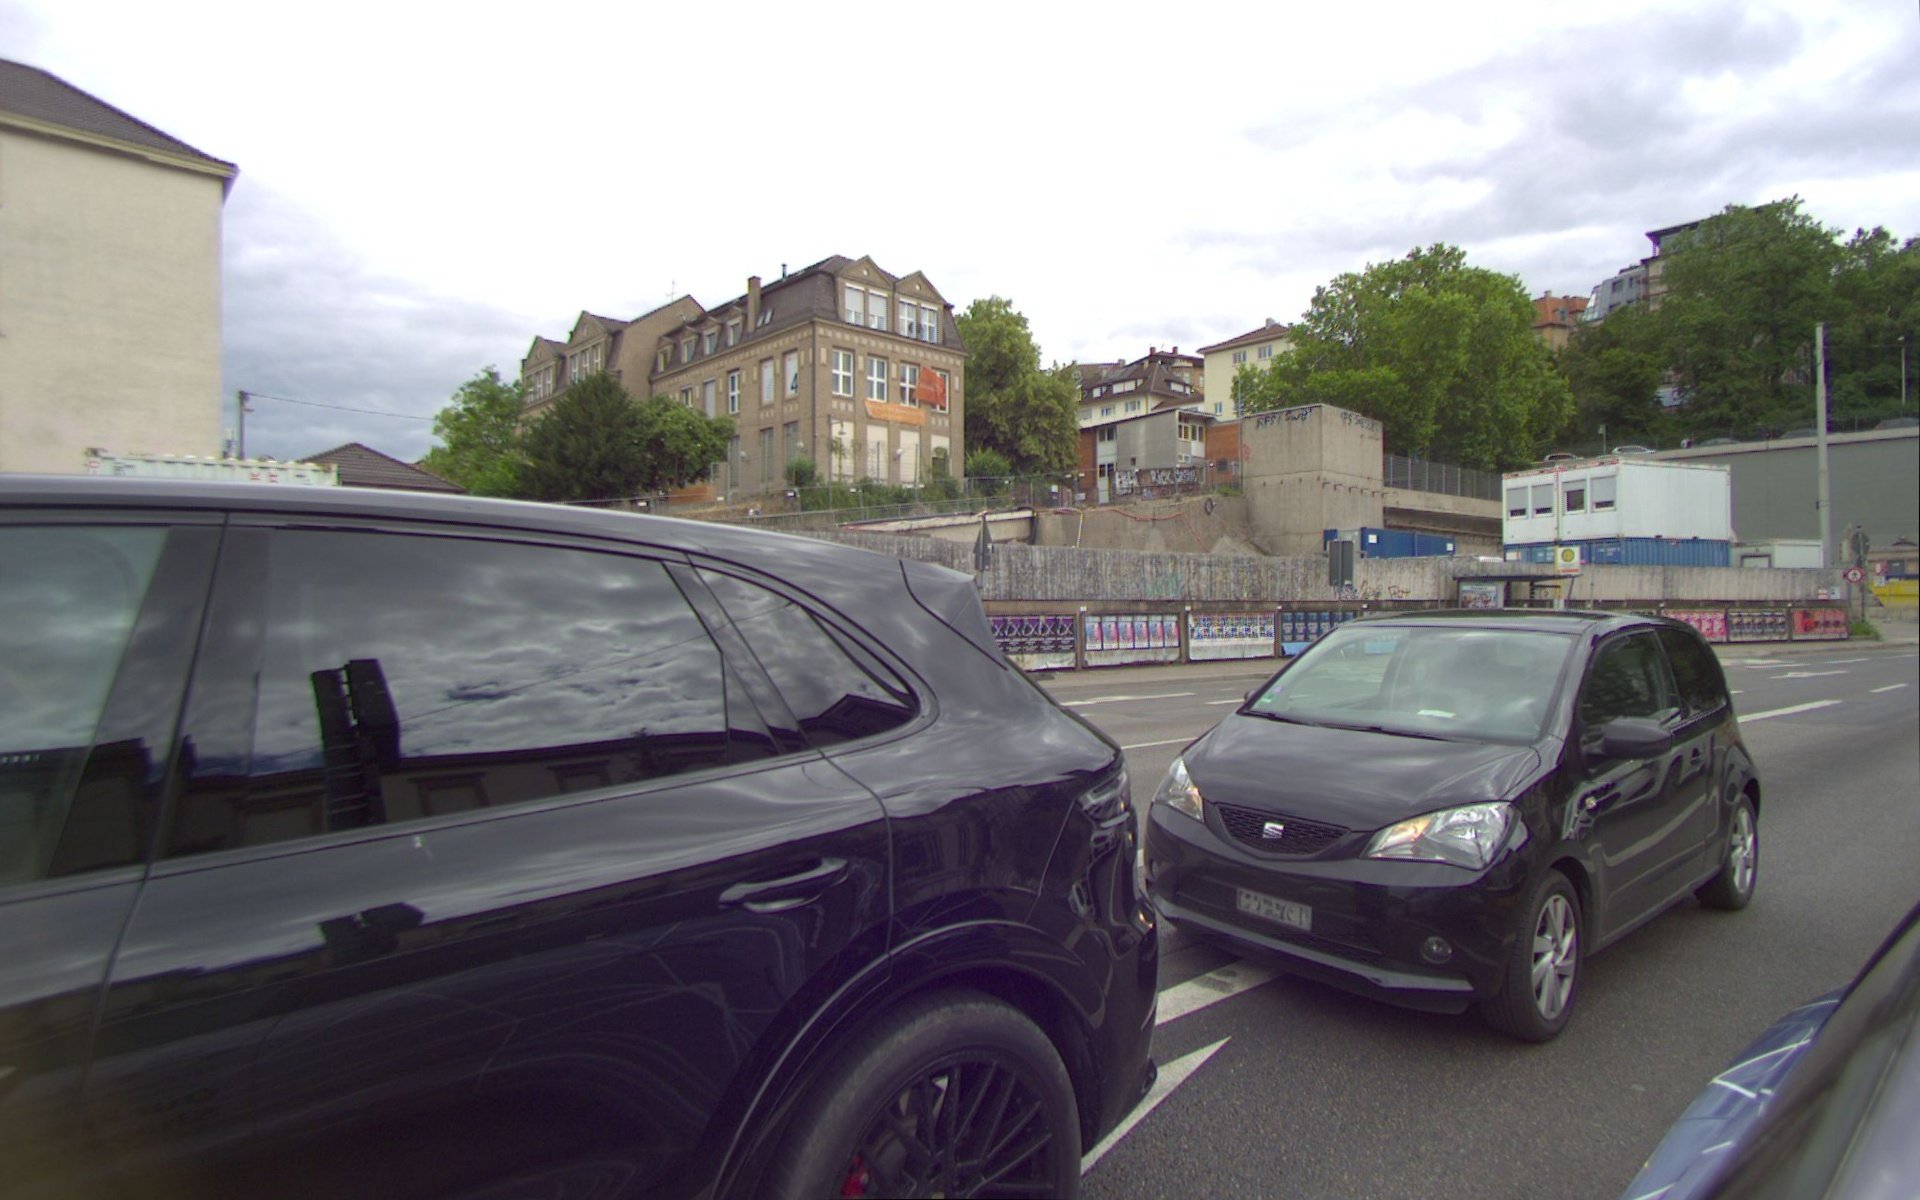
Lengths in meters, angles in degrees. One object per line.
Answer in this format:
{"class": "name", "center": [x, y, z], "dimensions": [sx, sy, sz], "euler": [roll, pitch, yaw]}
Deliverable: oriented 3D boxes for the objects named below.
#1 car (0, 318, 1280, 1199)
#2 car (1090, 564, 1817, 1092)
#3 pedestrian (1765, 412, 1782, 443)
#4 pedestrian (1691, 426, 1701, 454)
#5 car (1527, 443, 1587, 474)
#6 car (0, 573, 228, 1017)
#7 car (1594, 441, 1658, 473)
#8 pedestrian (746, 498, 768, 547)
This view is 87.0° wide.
{"class": "car", "center": [-1.616, 0.584, 1.698], "dimensions": [4.552, 1.707, 1.959], "euler": [0, -1, -40]}
{"class": "car", "center": [2.533, 0.661, 4.783], "dimensions": [3.812, 1.515, 1.667], "euler": [0, -1, -40]}
{"class": "pedestrian", "center": [58.161, -12.317, 72.382], "dimensions": [0.891, 2.039, 0.849], "euler": [0, -1, -45]}
{"class": "pedestrian", "center": [56.814, -12.366, 78.133], "dimensions": [0.568, 2.039, 0.580], "euler": [0, 0, -44]}
{"class": "car", "center": [50.259, -11.893, 85.226], "dimensions": [3.988, 2.039, 1.968], "euler": [0, 1, 45]}
{"class": "car", "center": [-4.877, 0.692, 3.416], "dimensions": [3.812, 1.563, 1.667], "euler": [0, -1, -40]}
{"class": "car", "center": [53.575, -11.485, 81.437], "dimensions": [3.988, 2.039, 1.968], "euler": [0, 1, 45]}
{"class": "pedestrian", "center": [-8.753, -3.325, 43.629], "dimensions": [0.656, 2.039, 0.644], "euler": [0, 0, -45]}
